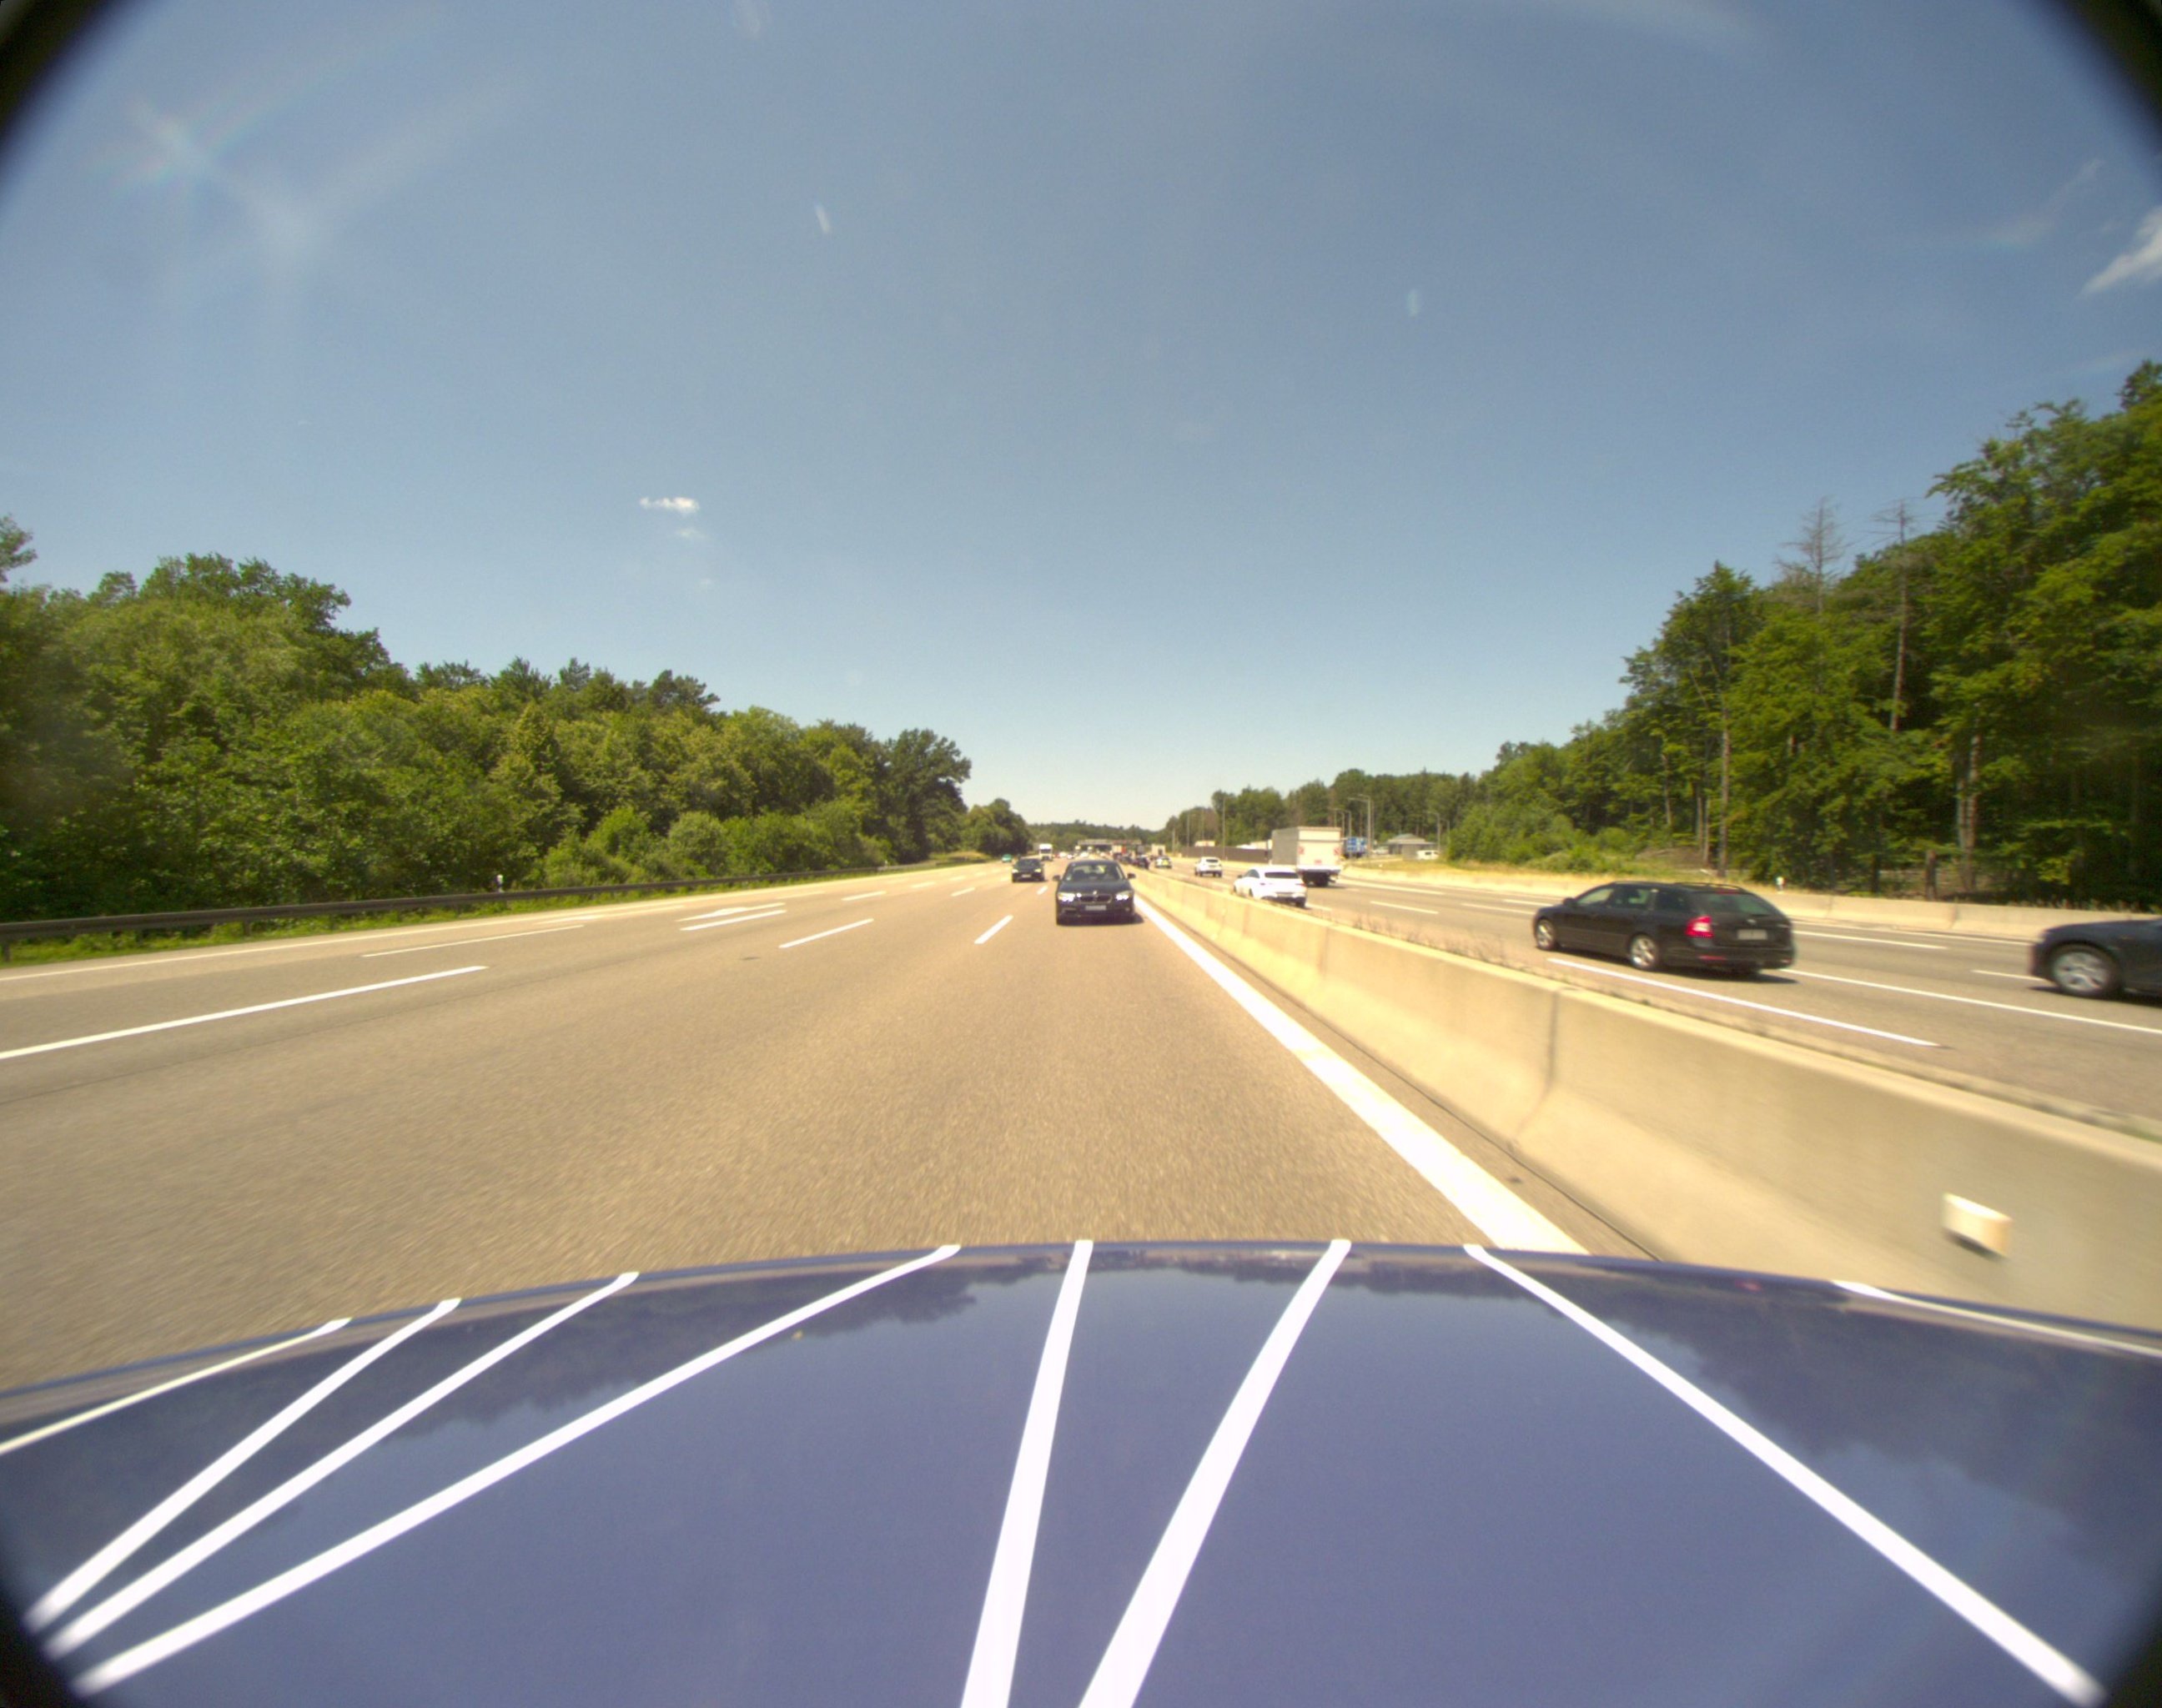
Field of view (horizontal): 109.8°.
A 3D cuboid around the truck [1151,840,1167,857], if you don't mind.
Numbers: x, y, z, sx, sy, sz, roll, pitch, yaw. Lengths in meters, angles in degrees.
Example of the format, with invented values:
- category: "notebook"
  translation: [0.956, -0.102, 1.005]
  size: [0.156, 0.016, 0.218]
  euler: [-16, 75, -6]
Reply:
- category: "truck"
  translation: [19.577, -1.493, 191.065]
  size: [2.842, 4.173, 10.595]
  euler: [0, 1, 1]

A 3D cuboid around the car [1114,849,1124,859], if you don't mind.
- category: "car"
  translation: [7.837, -0.048, 156.766]
  size: [1.903, 1.942, 5.656]
  euler: [1, 1, 0]

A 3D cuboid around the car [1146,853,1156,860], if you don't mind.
- category: "car"
  translation: [15.450, 0.478, 168.127]
  size: [1.757, 1.478, 3.814]
  euler: [2, 1, 0]

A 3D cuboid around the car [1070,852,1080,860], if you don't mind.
- category: "car"
  translation: [-1.441, 0.457, 179.622]
  size: [1.998, 1.671, 4.127]
  euler: [1, 1, 2]

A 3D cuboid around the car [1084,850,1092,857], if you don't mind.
- category: "car"
  translation: [1.788, -0.127, 203.147]
  size: [1.998, 1.935, 4.128]
  euler: [0, 0, 2]

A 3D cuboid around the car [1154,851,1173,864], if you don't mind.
- category: "car"
  translation: [10.586, 0.423, 97.496]
  size: [1.917, 1.503, 5.231]
  euler: [1, 0, 0]

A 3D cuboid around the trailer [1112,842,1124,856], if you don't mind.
- category: "trailer"
  translation: [12.094, -1.650, 248.239]
  size: [3.031, 4.201, 14.465]
  euler: [2, 1, 0]

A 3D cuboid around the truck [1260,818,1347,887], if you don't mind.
- category: "truck"
  translation: [14.087, -0.119, 48.963]
  size: [2.865, 3.989, 9.467]
  euler: [0, 1, 1]

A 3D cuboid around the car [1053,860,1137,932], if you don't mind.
- category: "car"
  translation: [0.350, 0.906, 18.350]
  size: [1.741, 1.450, 4.542]
  euler: [-1, 0, 1]

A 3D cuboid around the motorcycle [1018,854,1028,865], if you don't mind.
- category: "motorcycle"
  translation: [-6.751, 0.612, 88.228]
  size: [0.925, 1.311, 2.997]
  euler: [0, 1, 0]

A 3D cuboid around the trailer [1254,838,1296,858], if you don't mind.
- category: "trailer"
  translation: [49.594, -1.584, 194.064]
  size: [14.598, 5.043, 3.214]
  euler: [0, 1, -45]

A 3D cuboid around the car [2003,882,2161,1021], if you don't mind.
- category: "car"
  translation: [14.527, 1.266, 8.539]
  size: [2.052, 1.664, 5.188]
  euler: [1, 0, 1]

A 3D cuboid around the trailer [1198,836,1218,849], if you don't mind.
- category: "trailer"
  translation: [33.288, -2.988, 199.685]
  size: [2.979, 3.106, 14.608]
  euler: [0, 1, 1]

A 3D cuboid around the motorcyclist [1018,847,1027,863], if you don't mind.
- category: "motorcyclist"
  translation: [-6.742, 0.102, 88.079]
  size: [0.914, 1.926, 0.905]
  euler: [1, 1, 0]

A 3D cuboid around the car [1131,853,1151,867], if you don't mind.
- category: "car"
  translation: [6.685, 0.660, 84.968]
  size: [1.917, 1.456, 4.362]
  euler: [0, 1, 0]

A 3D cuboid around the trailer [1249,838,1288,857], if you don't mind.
- category: "trailer"
  translation: [50.841, -1.687, 205.297]
  size: [14.598, 5.043, 3.120]
  euler: [0, 1, -45]

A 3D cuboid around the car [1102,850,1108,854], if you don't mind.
- category: "car"
  translation: [8.260, -0.762, 261.240]
  size: [1.752, 1.449, 4.155]
  euler: [0, 1, -1]

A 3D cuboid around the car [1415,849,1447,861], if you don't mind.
- category: "car"
  translation: [59.661, 0.116, 129.588]
  size: [4.733, 2.002, 2.088]
  euler: [0, 1, 15]

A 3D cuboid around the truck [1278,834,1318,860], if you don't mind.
- category: "truck"
  translation: [47.996, -1.604, 167.985]
  size: [11.562, 5.580, 3.219]
  euler: [0, 1, -45]

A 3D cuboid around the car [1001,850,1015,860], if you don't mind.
- category: "car"
  translation: [-13.306, 0.158, 139.525]
  size: [1.998, 1.671, 4.127]
  euler: [1, 1, 2]

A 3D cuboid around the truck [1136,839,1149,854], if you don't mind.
- category: "truck"
  translation: [15.355, -1.866, 190.359]
  size: [2.584, 3.819, 7.016]
  euler: [1, 1, 0]

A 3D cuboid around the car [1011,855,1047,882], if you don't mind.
- category: "car"
  translation: [-3.064, 0.824, 45.408]
  size: [1.834, 1.454, 4.203]
  euler: [1, 1, 0]

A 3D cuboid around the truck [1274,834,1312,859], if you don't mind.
- category: "truck"
  translation: [48.477, -1.656, 173.488]
  size: [11.562, 5.580, 3.219]
  euler: [0, 1, -45]

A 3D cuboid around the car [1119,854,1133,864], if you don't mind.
- category: "car"
  translation: [7.066, 0.750, 119.851]
  size: [1.917, 1.456, 4.587]
  euler: [0, 1, 0]

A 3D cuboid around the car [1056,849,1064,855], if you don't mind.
- category: "car"
  translation: [-5.755, -0.593, 207.669]
  size: [1.874, 1.560, 4.127]
  euler: [0, 0, 1]

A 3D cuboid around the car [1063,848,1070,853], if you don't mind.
- category: "car"
  translation: [-4.396, -1.043, 229.626]
  size: [1.874, 1.560, 4.127]
  euler: [0, 0, 1]

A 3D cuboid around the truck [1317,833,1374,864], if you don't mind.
- category: "truck"
  translation: [51.254, -1.070, 146.640]
  size: [16.746, 5.580, 3.214]
  euler: [0, 1, -44]

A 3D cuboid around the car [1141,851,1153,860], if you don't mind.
- category: "car"
  translation: [11.335, 0.265, 130.808]
  size: [1.765, 1.455, 4.839]
  euler: [0, 1, 0]

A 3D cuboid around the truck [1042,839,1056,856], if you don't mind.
- category: "truck"
  translation: [-6.115, -1.260, 146.702]
  size: [2.429, 3.237, 8.688]
  euler: [1, 1, 0]

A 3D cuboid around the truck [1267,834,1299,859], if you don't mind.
- category: "truck"
  translation: [47.014, -1.706, 176.854]
  size: [8.506, 5.580, 3.219]
  euler: [0, 1, -45]

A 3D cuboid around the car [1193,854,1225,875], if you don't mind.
- category: "car"
  translation: [10.756, 0.858, 64.156]
  size: [1.917, 1.651, 4.689]
  euler: [1, 0, 0]

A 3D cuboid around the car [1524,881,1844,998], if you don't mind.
- category: "car"
  translation: [9.704, 1.264, 12.843]
  size: [1.706, 1.419, 4.613]
  euler: [1, 0, 0]

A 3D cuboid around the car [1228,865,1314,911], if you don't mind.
- category: "car"
  translation: [6.638, 1.145, 27.043]
  size: [1.829, 1.386, 4.464]
  euler: [1, 0, -1]
